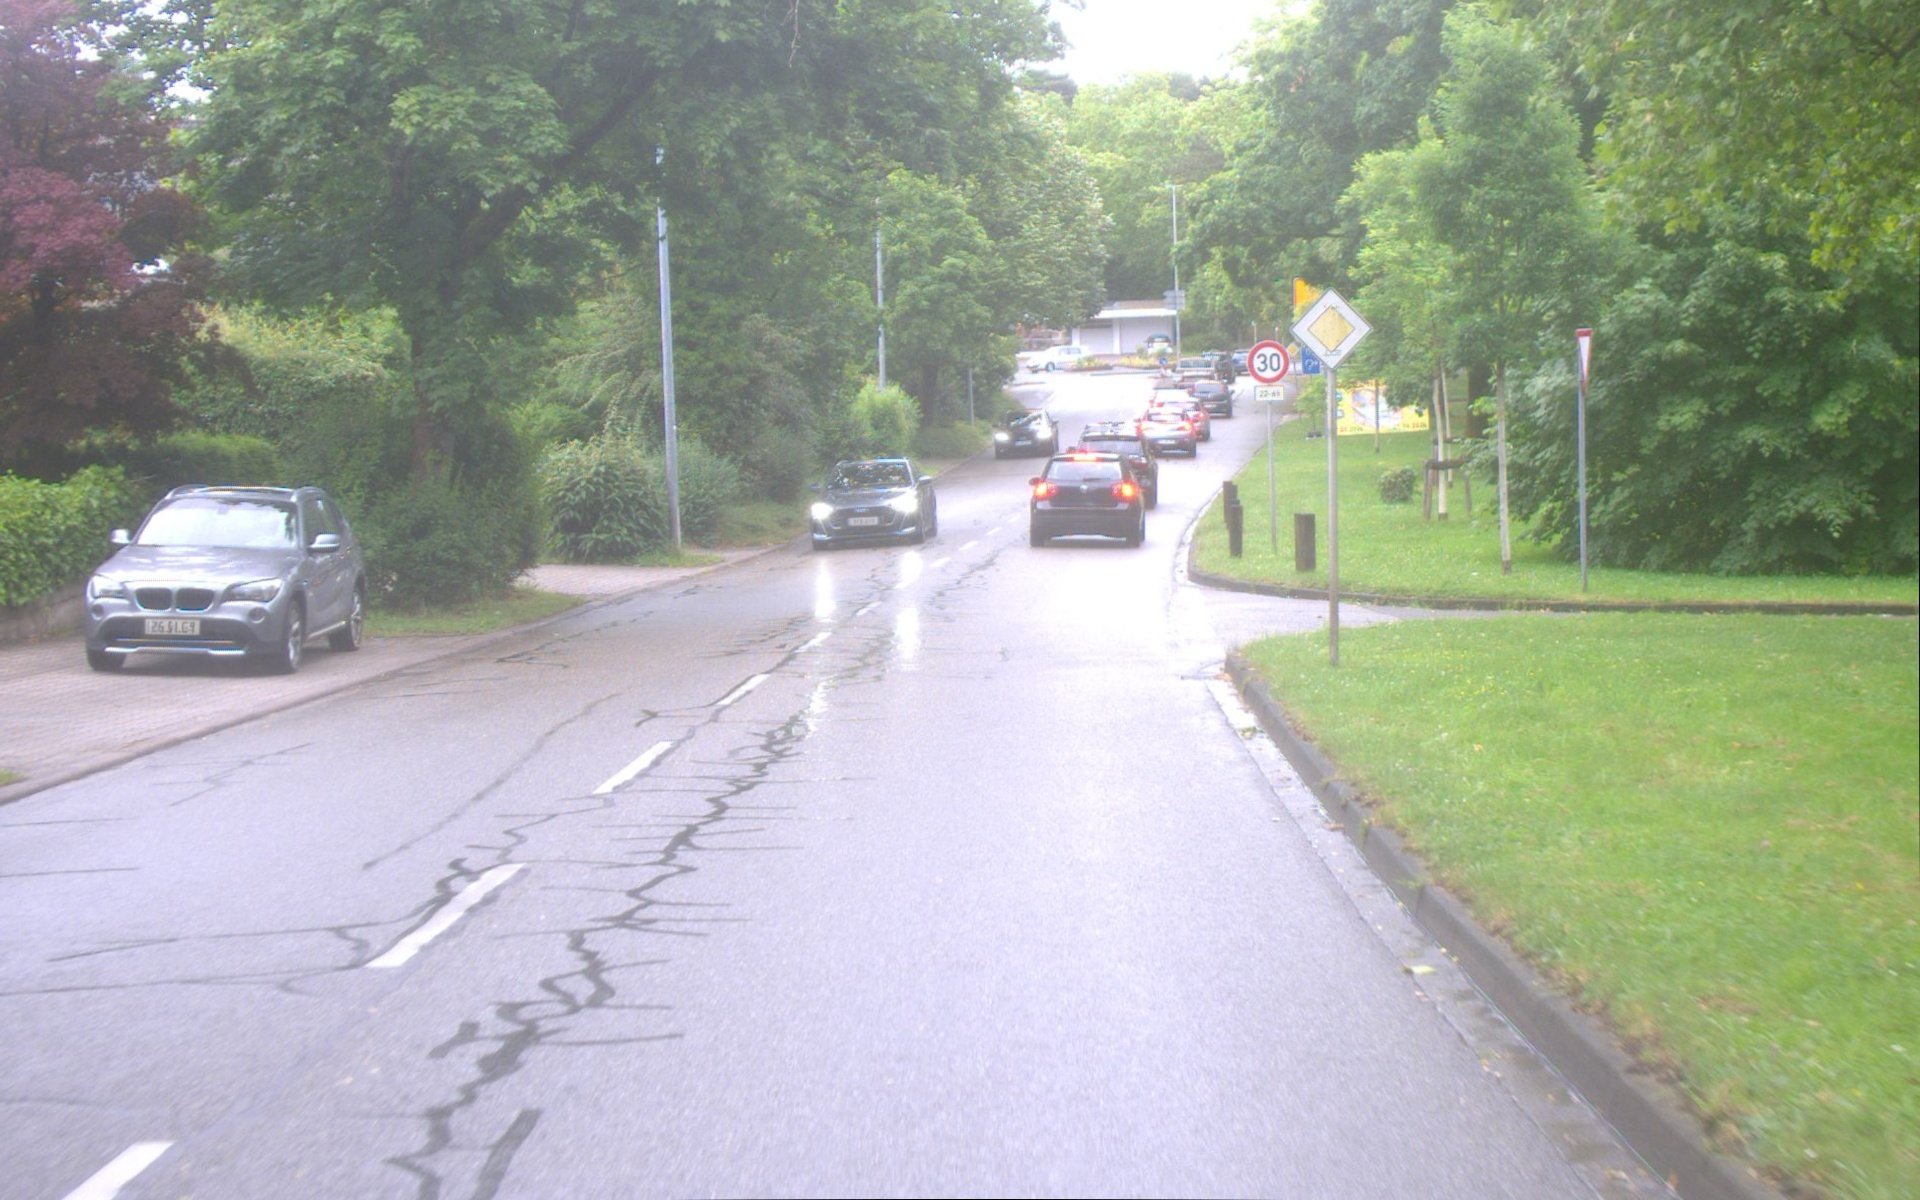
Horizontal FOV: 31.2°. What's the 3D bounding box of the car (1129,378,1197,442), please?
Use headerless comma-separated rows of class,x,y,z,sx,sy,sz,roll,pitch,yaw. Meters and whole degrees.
car,6.234,-5.820,105.158,1.856,1.778,4.000,-2,5,6

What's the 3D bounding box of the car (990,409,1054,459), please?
car,1.972,-5.240,108.303,1.754,1.358,4.326,-3,4,4

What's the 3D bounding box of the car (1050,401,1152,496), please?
car,2.994,-3.210,72.205,1.856,1.778,4.000,-2,5,6

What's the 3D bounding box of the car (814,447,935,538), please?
car,-1.406,-1.828,57.961,1.690,1.391,4.491,-3,2,2

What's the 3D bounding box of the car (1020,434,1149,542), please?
car,2.021,-1.823,55.075,1.799,1.510,3.754,1,5,6

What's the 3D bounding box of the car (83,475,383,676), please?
car,-6.361,-0.279,30.524,1.663,1.536,4.285,2,3,1

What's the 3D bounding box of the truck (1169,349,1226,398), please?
truck,10.518,-10.053,152.222,2.417,1.997,5.151,-2,5,4
